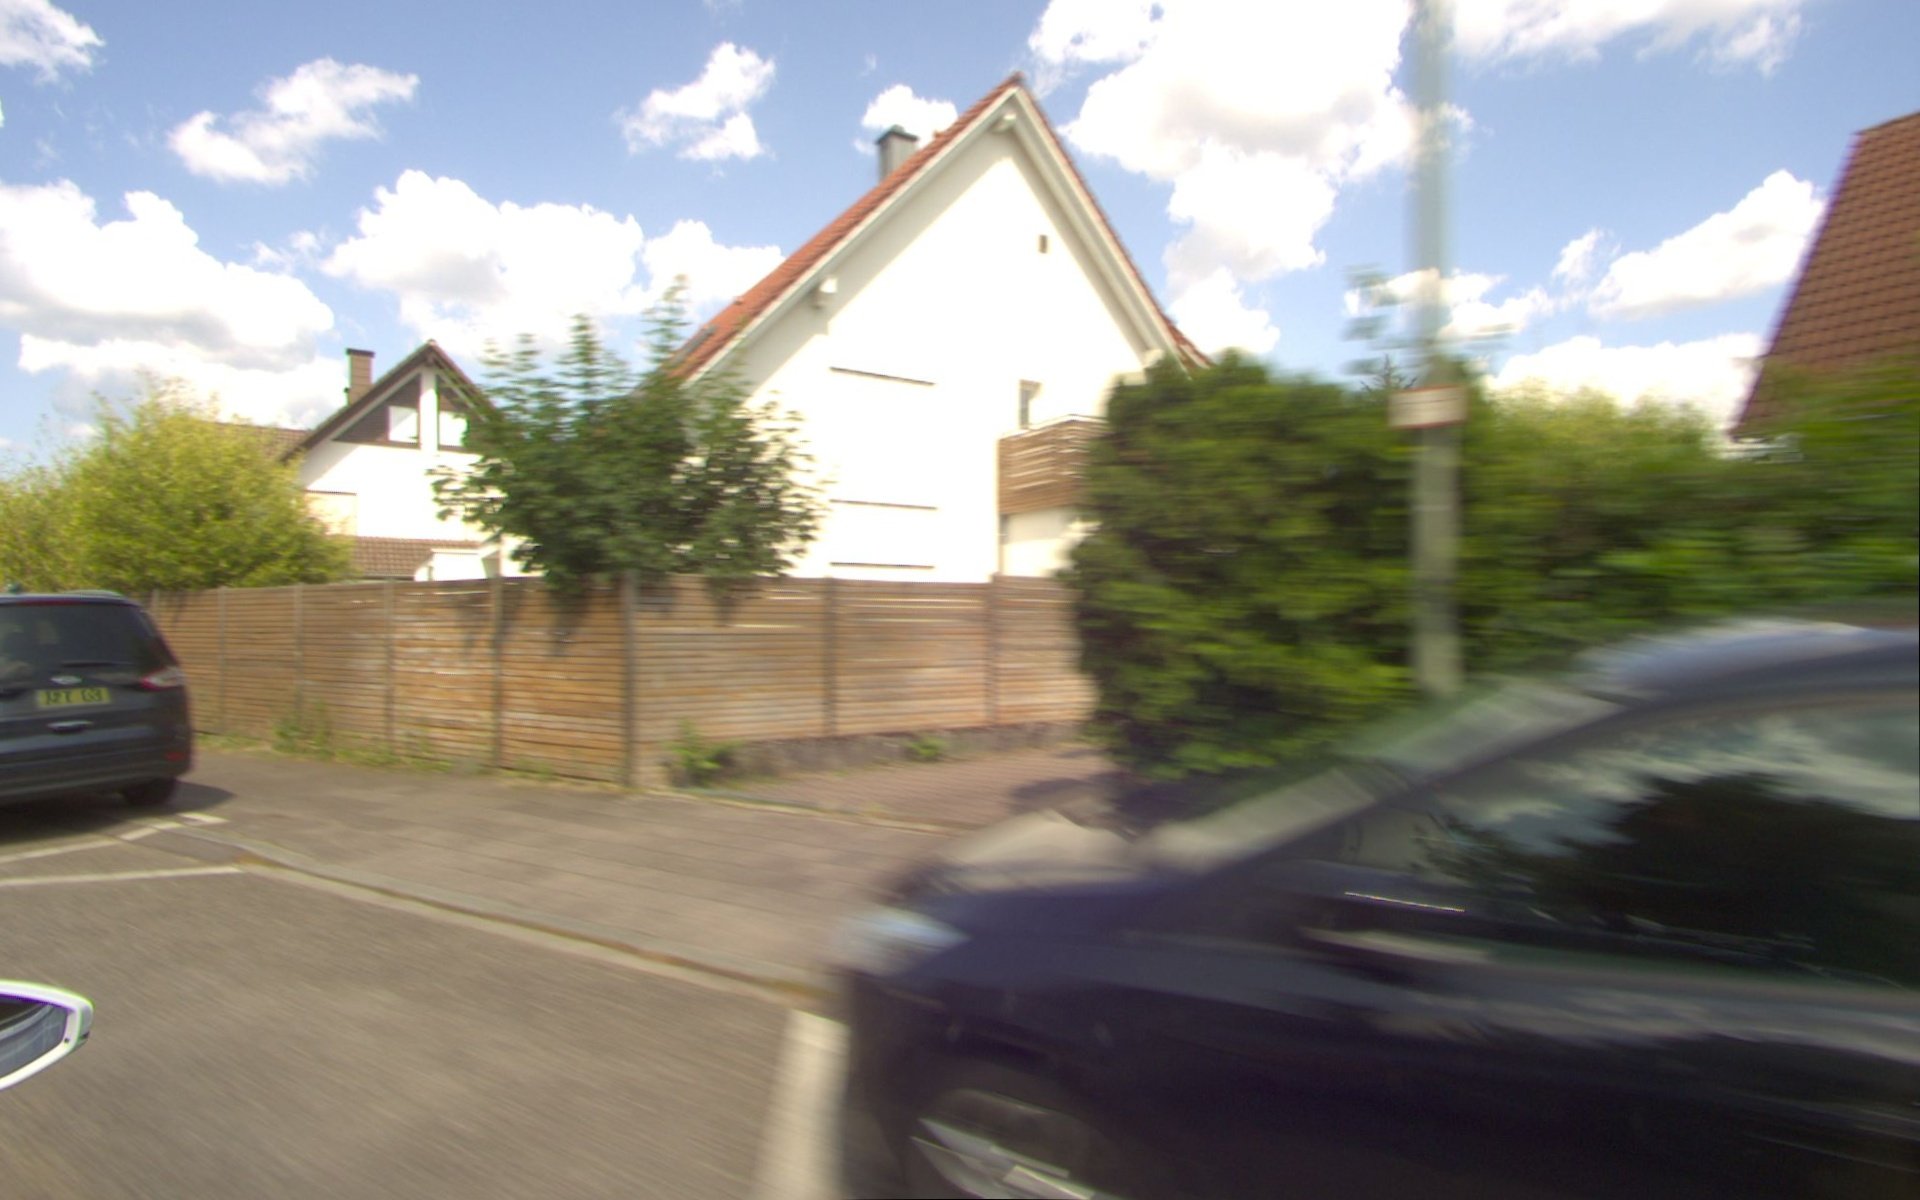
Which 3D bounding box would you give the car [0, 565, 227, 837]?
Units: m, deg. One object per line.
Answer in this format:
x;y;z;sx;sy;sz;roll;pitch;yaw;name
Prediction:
-8.154;0.717;8.105;4.639;1.797;1.888;-1;0;30;car

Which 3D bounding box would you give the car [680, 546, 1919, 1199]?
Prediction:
1.586;0.681;2.014;4.234;1.525;1.723;-1;1;32;car
